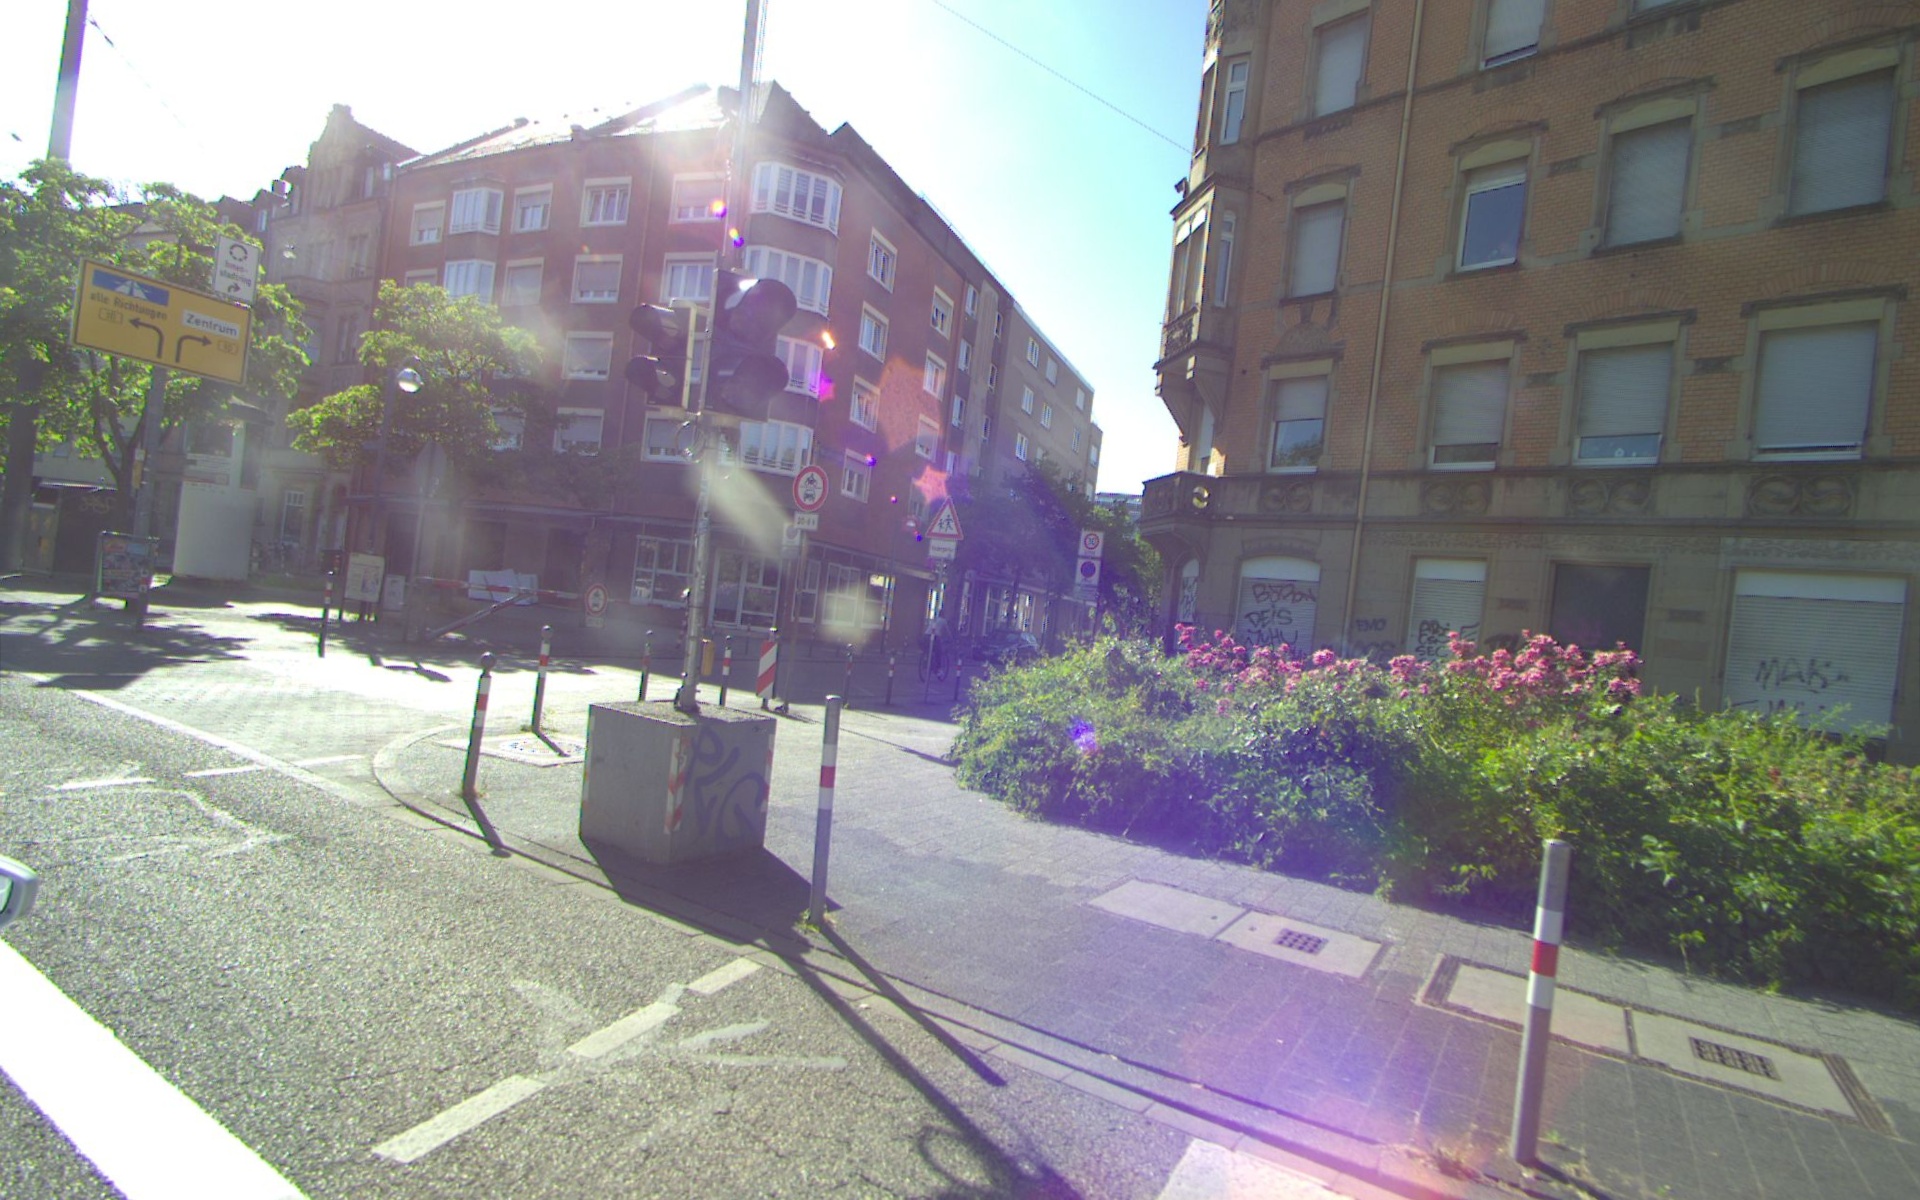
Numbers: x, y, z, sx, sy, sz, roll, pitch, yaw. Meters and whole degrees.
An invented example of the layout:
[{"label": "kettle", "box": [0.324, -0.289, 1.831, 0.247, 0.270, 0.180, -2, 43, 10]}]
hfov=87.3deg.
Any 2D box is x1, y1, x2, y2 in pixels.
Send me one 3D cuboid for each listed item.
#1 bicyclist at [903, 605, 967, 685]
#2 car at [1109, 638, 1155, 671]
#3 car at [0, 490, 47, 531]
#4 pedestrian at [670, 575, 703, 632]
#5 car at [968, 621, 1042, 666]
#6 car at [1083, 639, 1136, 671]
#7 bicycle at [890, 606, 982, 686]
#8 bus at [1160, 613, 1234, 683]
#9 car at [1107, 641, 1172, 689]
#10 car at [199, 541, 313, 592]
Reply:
[{"label": "bicyclist", "box": [-0.589, 1.072, 23.738, 0.905, 1.746, 1.048, 7, 0, 31]}, {"label": "car", "box": [11.326, 3.596, 66.056, 1.963, 1.815, 4.000, 7, -1, 22]}, {"label": "car", "box": [-49.289, -4.722, 51.668, 4.545, 1.823, 1.997, 7, 1, 27]}, {"label": "pedestrian", "box": [-8.933, 0.121, 32.831, 0.631, 1.781, 0.592, 7, 0, 28]}, {"label": "car", "box": [1.963, 1.885, 42.923, 1.816, 1.593, 4.000, 7, -1, 21]}, {"label": "car", "box": [8.617, 3.171, 57.766, 1.963, 1.571, 4.000, 7, -1, 22]}, {"label": "bicycle", "box": [-0.548, 1.110, 23.801, 0.993, 1.701, 2.137, 7, -1, 32]}, {"label": "bus", "box": [12.309, 2.526, 51.882, 2.379, 3.104, 6.265, 7, -1, 24]}, {"label": "car", "box": [6.928, 2.481, 38.493, 1.605, 1.563, 4.001, 7, -1, 20]}, {"label": "car", "box": [-27.922, -1.338, 39.864, 4.414, 1.492, 1.996, 7, 0, 31]}]
